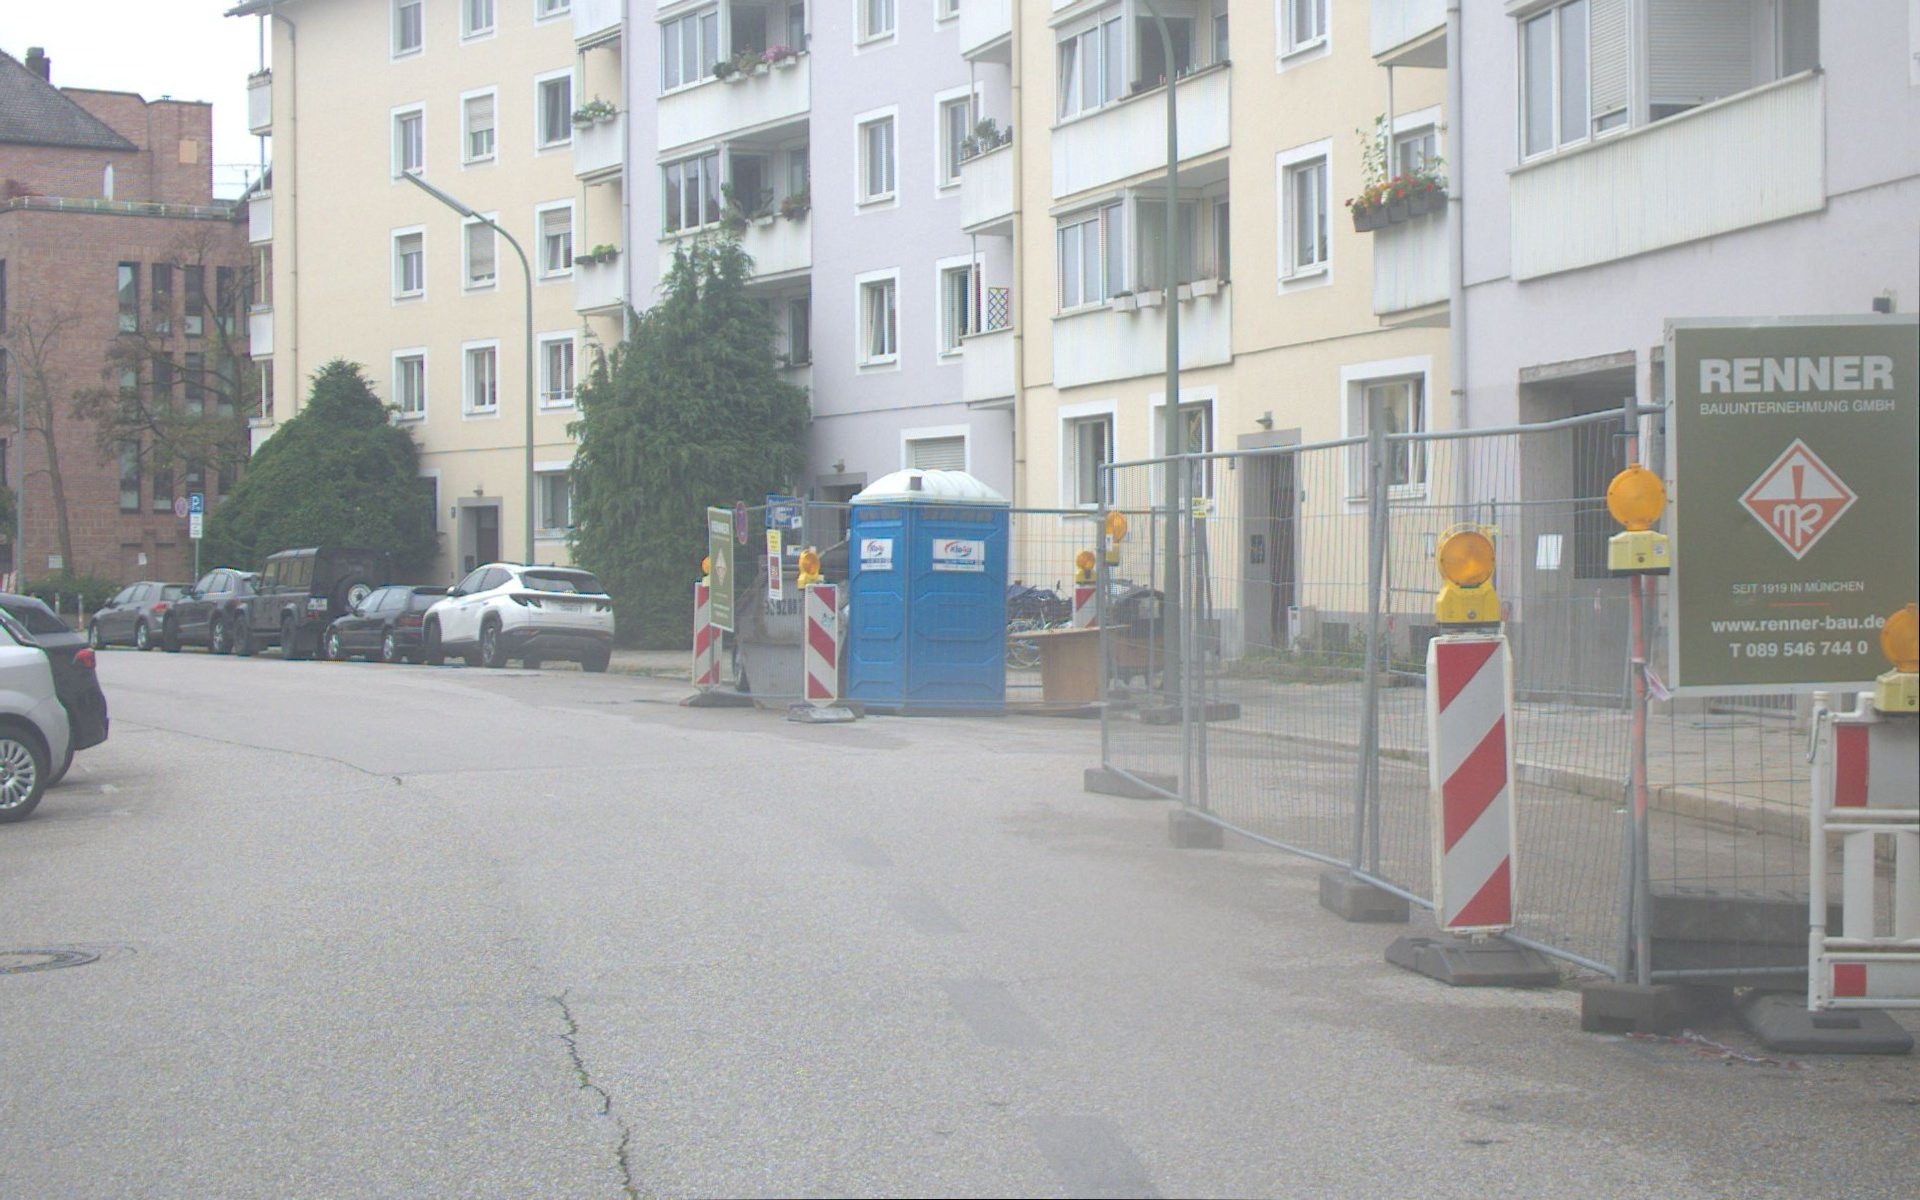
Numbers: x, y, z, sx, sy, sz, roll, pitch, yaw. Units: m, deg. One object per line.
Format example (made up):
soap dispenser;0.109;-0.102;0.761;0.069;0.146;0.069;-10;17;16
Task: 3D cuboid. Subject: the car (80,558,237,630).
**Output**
car;-16.607;-0.098;71.127;1.754;1.392;4.044;2;-2;-35

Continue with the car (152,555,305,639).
car;-14.295;-0.049;67.019;1.658;1.560;4.515;1;-1;-29

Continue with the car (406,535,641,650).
car;-6.833;-0.138;53.425;2.026;1.672;4.613;1;0;-29

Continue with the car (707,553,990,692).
car;-1.332;0.216;38.772;1.830;1.437;4.630;2;0;-20

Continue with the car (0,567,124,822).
car;-7.178;0.533;20.420;3.972;1.525;1.674;1;0;-44

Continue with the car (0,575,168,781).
car;-7.692;0.598;23.742;1.748;1.368;3.997;-1;1;43

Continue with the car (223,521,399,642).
car;-11.754;-0.357;62.057;1.747;2.074;4.516;1;0;-29

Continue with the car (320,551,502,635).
car;-9.253;-0.090;57.730;1.658;1.344;3.804;1;-1;-32
